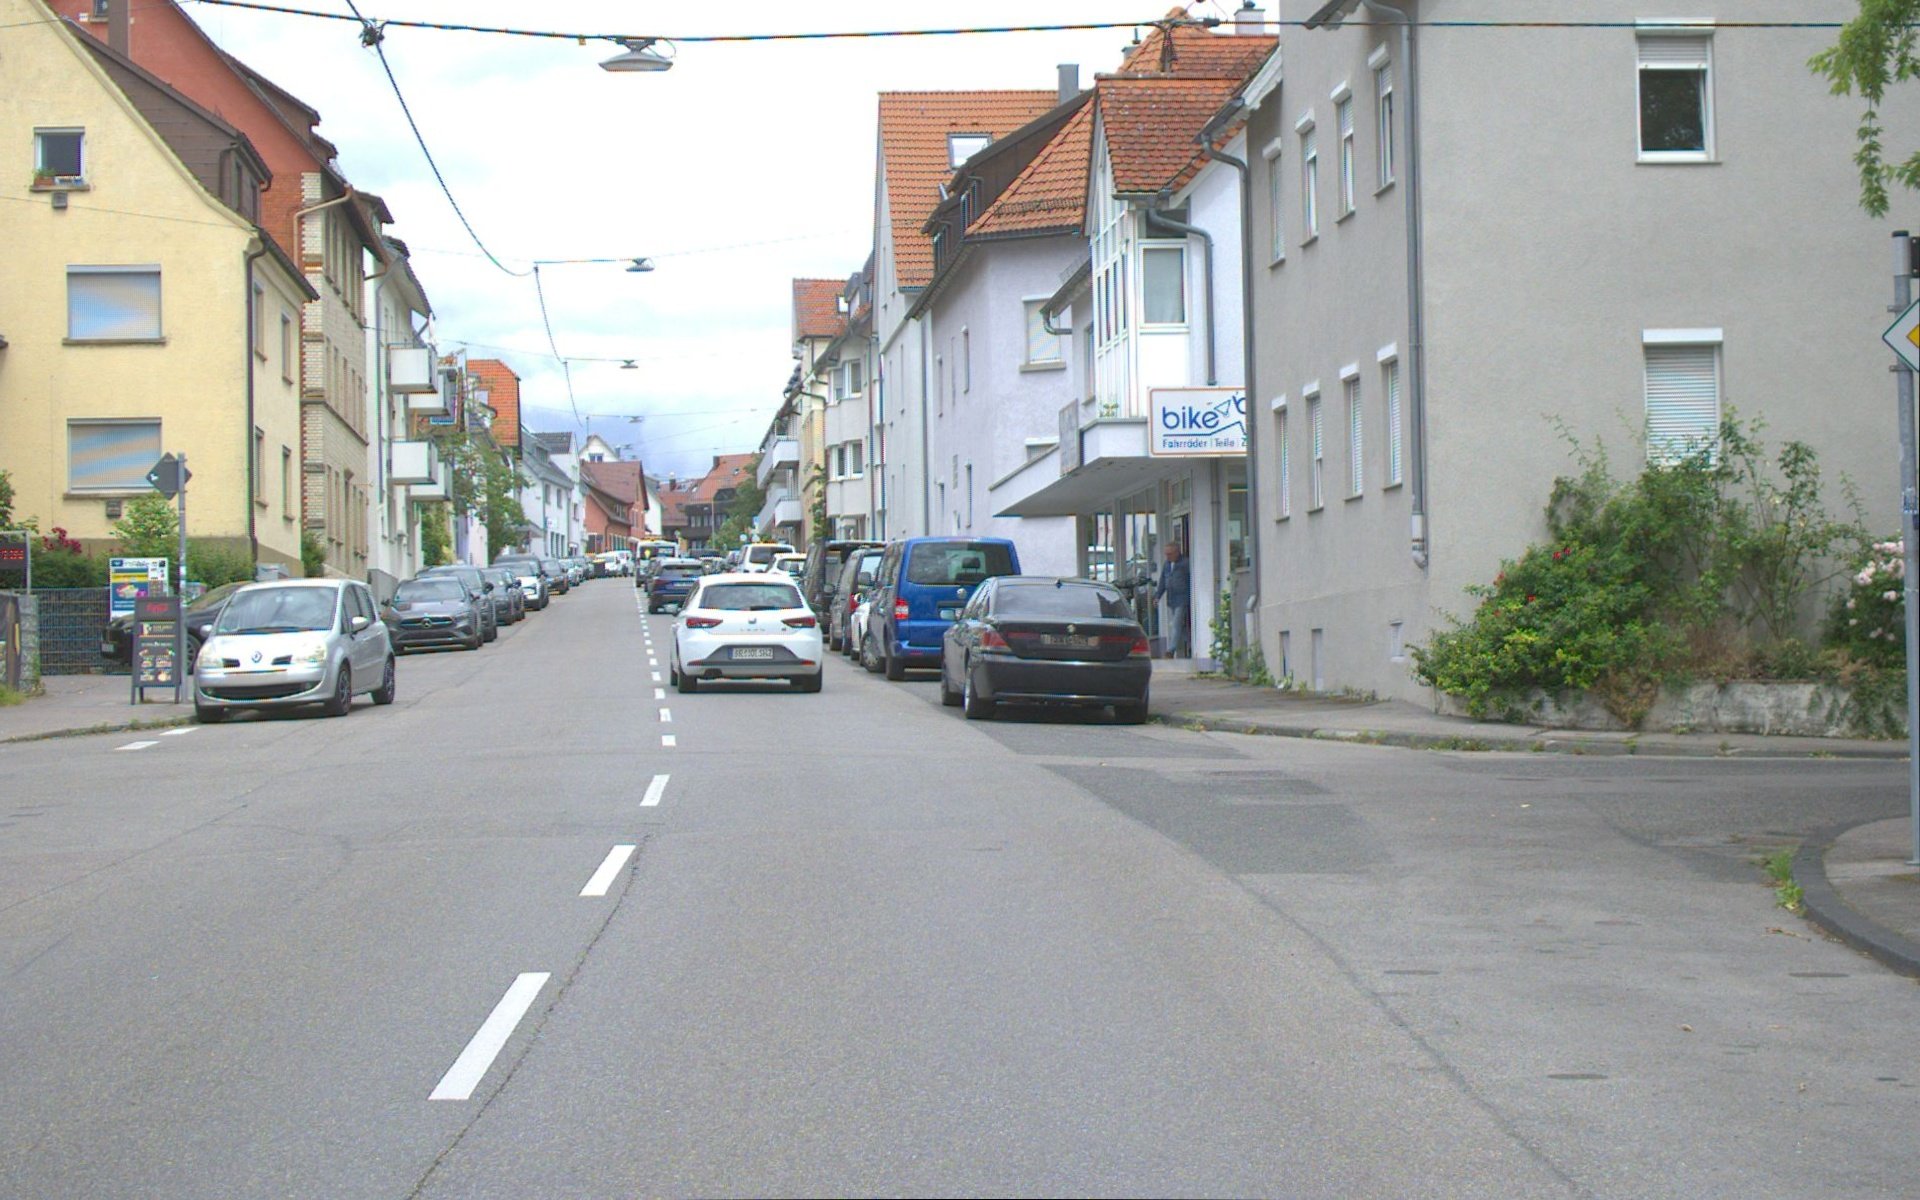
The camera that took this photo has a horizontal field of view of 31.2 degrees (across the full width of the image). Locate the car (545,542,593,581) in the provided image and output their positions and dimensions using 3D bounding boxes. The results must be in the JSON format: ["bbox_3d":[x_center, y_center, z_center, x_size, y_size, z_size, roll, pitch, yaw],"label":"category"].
[{"bbox_3d":[-17.236,-1.719,151.798,1.993,1.645,4.180,-1,1,-5],"label":"car"}]

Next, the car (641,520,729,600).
[{"bbox_3d":[-7.177,-1.040,89.405,2.152,2.007,4.001,0,1,-6],"label":"car"}]

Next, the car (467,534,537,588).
[{"bbox_3d":[-14.413,-1.244,108.338,1.993,1.645,4.001,-1,1,-5],"label":"car"}]

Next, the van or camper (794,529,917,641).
[{"bbox_3d":[-2.105,-0.319,67.626,1.993,2.058,5.946,1,1,-5],"label":"van or camper"}]

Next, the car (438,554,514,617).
[{"bbox_3d":[-12.422,-0.404,88.450,1.642,1.468,4.180,-4,1,-5],"label":"car"}]

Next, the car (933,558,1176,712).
[{"bbox_3d":[0.927,0.330,36.822,1.993,1.512,4.892,1,0,-6],"label":"car"}]

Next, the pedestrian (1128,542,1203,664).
[{"bbox_3d":[2.924,0.039,48.866,0.871,1.719,0.618,0,1,30],"label":"pedestrian"}]

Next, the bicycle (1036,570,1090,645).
[{"bbox_3d":[1.601,0.112,53.284,0.250,1.109,1.465,-1,1,25],"label":"bicycle"}]

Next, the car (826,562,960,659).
[{"bbox_3d":[-1.103,0.138,54.505,1.714,1.431,4.640,1,1,-6],"label":"car"}]

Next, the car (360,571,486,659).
[{"bbox_3d":[-10.345,0.259,66.470,1.993,1.467,4.244,-4,1,-4],"label":"car"}]

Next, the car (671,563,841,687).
[{"bbox_3d":[-2.561,0.273,42.397,1.940,1.434,4.001,0,1,-6],"label":"car"}]

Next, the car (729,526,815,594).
[{"bbox_3d":[-4.908,-1.049,89.413,1.940,1.687,4.001,2,1,-7],"label":"car"}]

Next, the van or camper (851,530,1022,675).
[{"bbox_3d":[-0.386,-0.008,48.035,1.926,1.919,4.832,0,1,-6],"label":"van or camper"}]

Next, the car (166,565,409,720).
[{"bbox_3d":[-7.755,0.451,39.999,1.834,1.572,4.031,-4,1,2],"label":"car"}]

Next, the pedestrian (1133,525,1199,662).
[{"bbox_3d":[3.046,-0.096,50.858,0.760,2.007,0.618,0,1,30],"label":"pedestrian"}]

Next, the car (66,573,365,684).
[{"bbox_3d":[-11.422,0.449,52.943,4.229,1.467,2.000,-2,-3,-4],"label":"car"}]

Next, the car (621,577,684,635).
[{"bbox_3d":[-11.094,0.197,123.962,2.152,2.007,4.001,0,1,-6],"label":"car"}]

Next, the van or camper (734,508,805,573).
[{"bbox_3d":[-6.212,-1.933,111.703,1.940,2.048,4.564,0,1,-7],"label":"van or camper"}]

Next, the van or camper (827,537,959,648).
[{"bbox_3d":[-1.208,-0.159,60.008,1.871,1.822,4.681,1,1,-6],"label":"van or camper"}]
